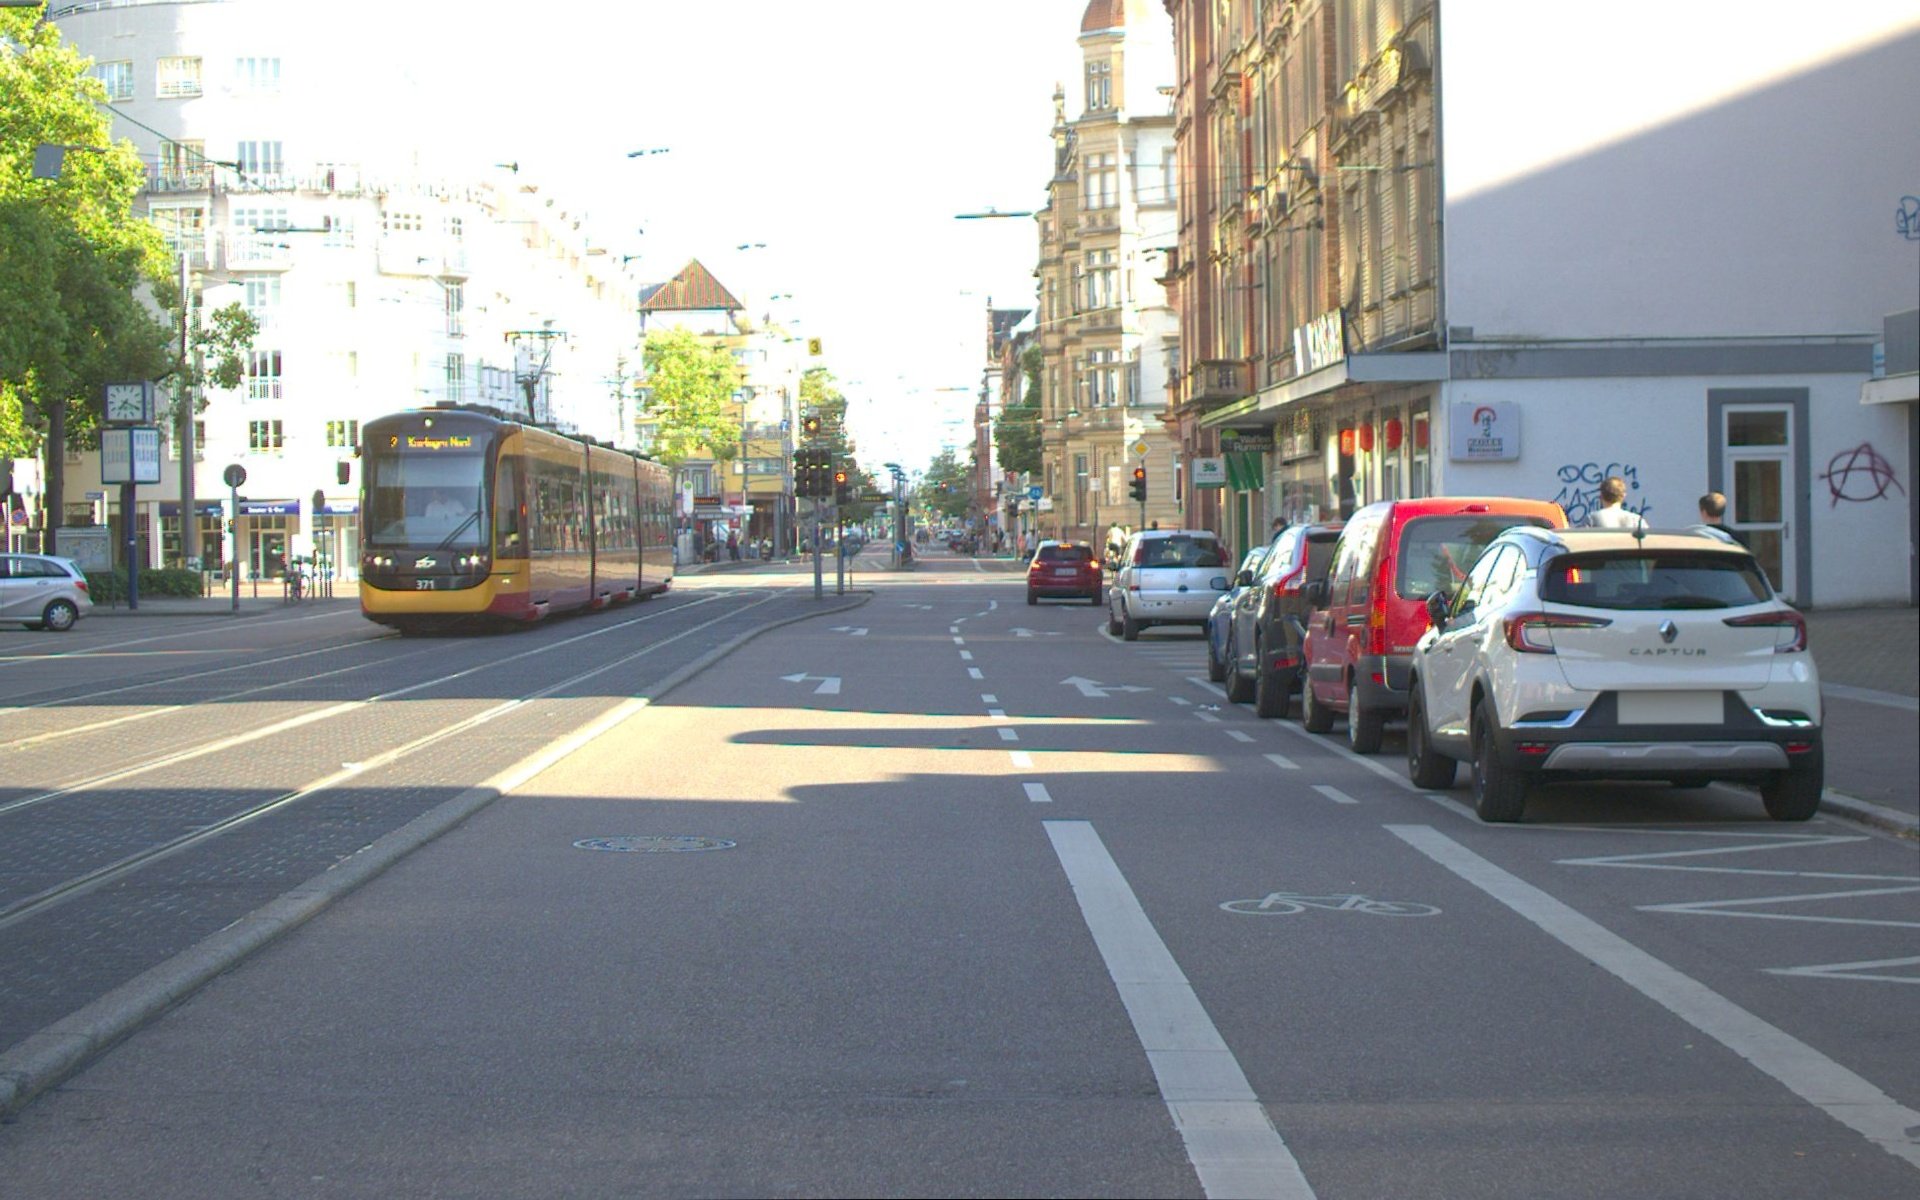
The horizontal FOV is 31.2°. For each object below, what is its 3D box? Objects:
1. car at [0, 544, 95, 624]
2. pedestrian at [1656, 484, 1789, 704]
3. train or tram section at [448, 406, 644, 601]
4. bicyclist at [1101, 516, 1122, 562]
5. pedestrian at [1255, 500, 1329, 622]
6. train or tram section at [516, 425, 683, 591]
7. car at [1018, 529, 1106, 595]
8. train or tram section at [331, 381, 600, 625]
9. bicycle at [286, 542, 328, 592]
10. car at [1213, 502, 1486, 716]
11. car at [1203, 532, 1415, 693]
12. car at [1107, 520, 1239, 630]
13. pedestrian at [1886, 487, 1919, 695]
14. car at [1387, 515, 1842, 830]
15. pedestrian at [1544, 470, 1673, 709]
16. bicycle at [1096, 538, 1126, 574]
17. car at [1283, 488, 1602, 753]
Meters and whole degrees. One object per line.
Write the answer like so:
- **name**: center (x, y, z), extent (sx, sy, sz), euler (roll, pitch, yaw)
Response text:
- **car**: center (-19.544, -0.325, 68.226), extent (4.266, 1.560, 1.827), euler (0, 1, -31)
- **pedestrian**: center (6.252, -0.062, 28.232), extent (0.810, 1.750, 1.033), euler (-2, 1, -1)
- **train or tram section**: center (-8.145, -1.877, 69.003), extent (2.675, 3.539, 11.128), euler (-1, 1, -1)
- **bicyclist**: center (4.657, -1.884, 105.570), extent (0.421, 1.404, 0.658), euler (-1, 1, 23)
- **pedestrian**: center (4.987, -0.590, 51.701), extent (0.946, 1.786, 1.055), euler (-2, 1, -1)
- **train or tram section**: center (-8.339, -2.100, 80.968), extent (2.675, 3.539, 12.843), euler (-1, 1, -1)
- **car**: center (2.315, -0.896, 78.741), extent (1.754, 1.461, 3.946), euler (0, 1, -2)
- **train or tram section**: center (-7.980, -1.538, 57.187), extent (2.758, 3.539, 12.469), euler (-1, 1, -1)
- **bicycle**: center (-17.691, -0.899, 93.174), extent (0.671, 1.322, 1.906), euler (2, 1, 2)
- **car**: center (3.358, 0.026, 30.415), extent (1.820, 1.751, 4.475), euler (0, 1, -1)
- **car**: center (3.541, 0.086, 35.445), extent (1.637, 1.487, 3.796), euler (1, 2, -2)
- **car**: center (3.205, -0.408, 52.376), extent (1.637, 1.609, 3.946), euler (0, 1, -2)
- **pedestrian**: center (8.321, -0.100, 28.511), extent (0.900, 1.707, 1.033), euler (-3, 1, -1)
- **car**: center (3.606, 0.328, 19.680), extent (1.787, 1.590, 4.326), euler (-1, 1, 0)
- **pedestrian**: center (5.291, -0.097, 28.100), extent (0.793, 1.892, 1.033), euler (-2, 1, -1)
- **bicycle**: center (4.629, -1.354, 105.475), extent (0.421, 1.092, 1.411), euler (-1, 1, 23)
- **car**: center (3.498, 0.097, 25.613), extent (1.675, 1.802, 4.249), euler (0, 1, -1)
